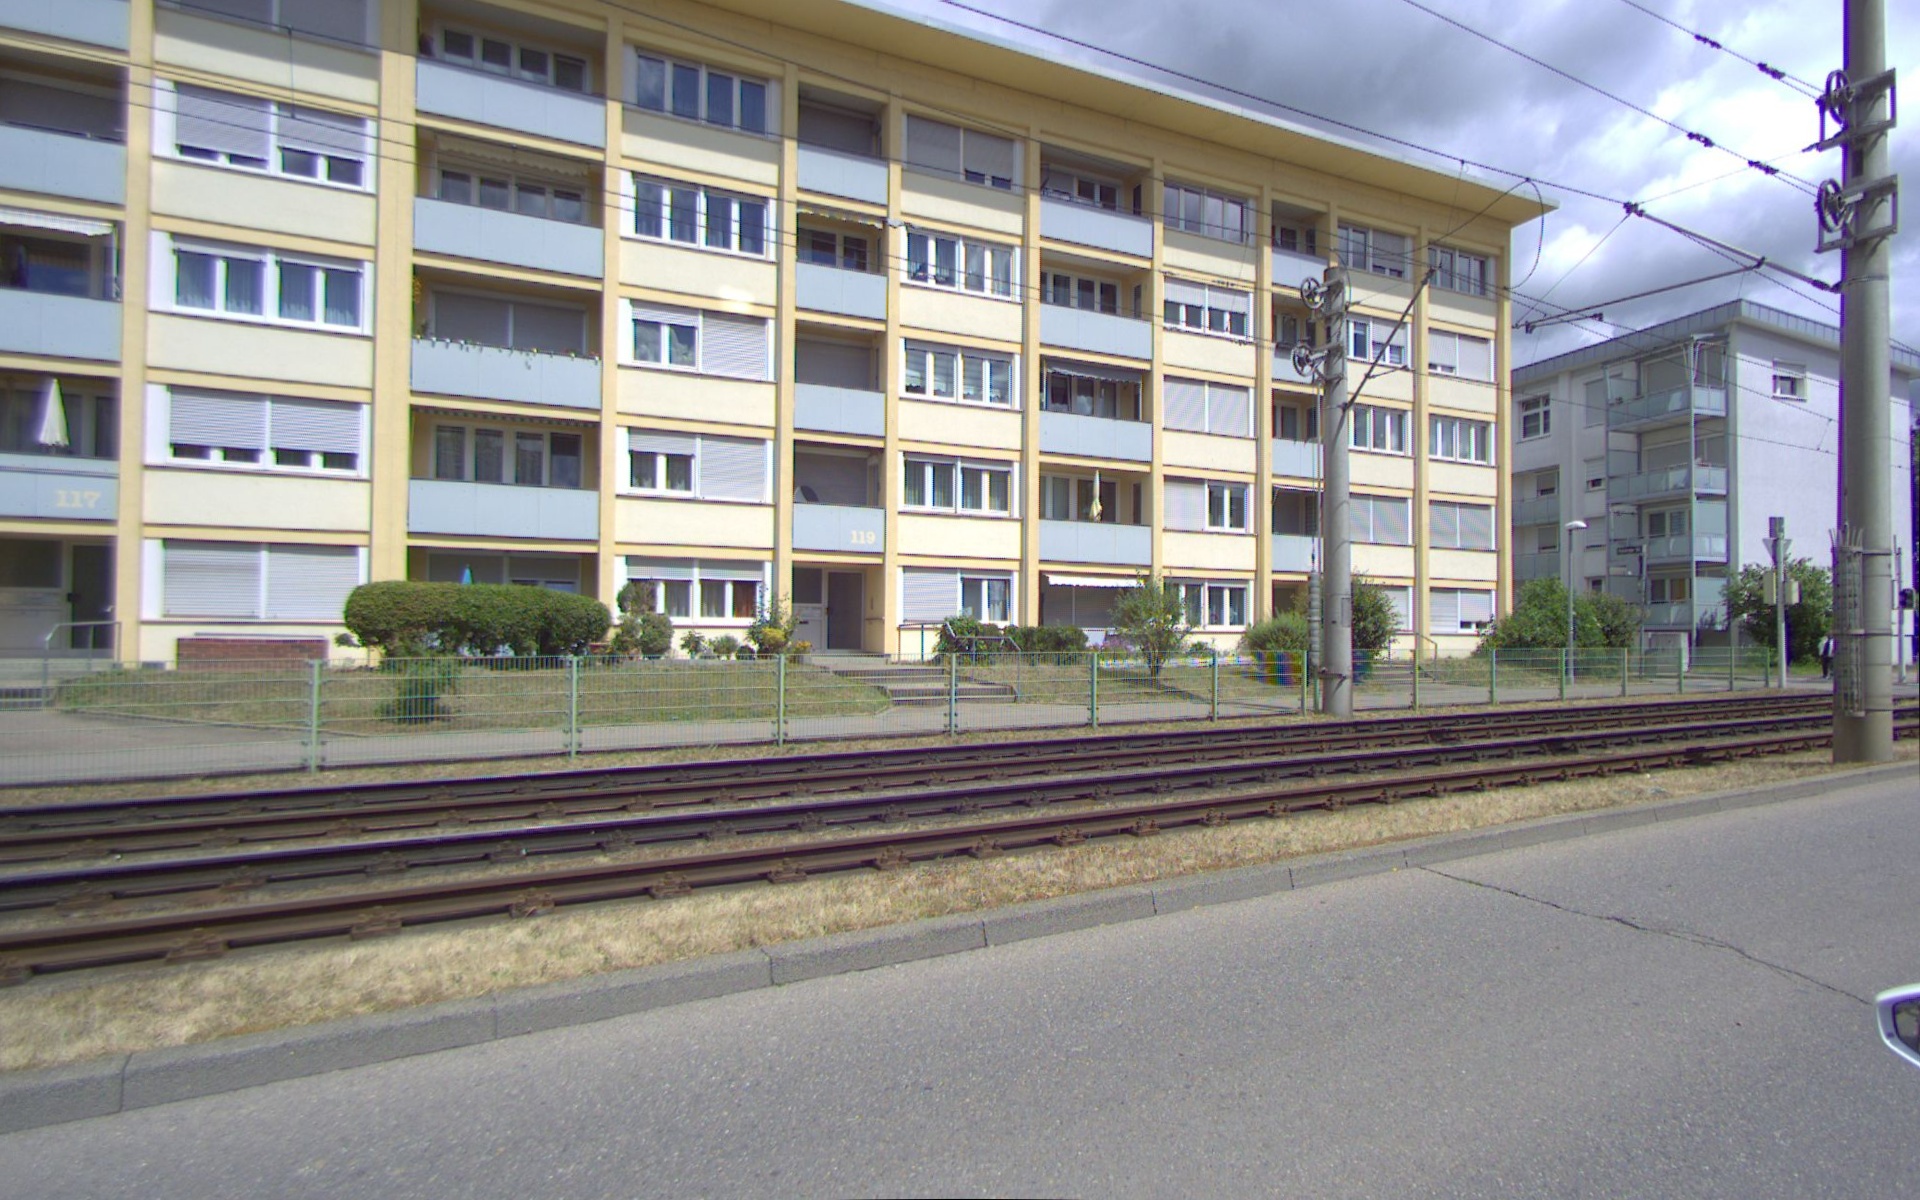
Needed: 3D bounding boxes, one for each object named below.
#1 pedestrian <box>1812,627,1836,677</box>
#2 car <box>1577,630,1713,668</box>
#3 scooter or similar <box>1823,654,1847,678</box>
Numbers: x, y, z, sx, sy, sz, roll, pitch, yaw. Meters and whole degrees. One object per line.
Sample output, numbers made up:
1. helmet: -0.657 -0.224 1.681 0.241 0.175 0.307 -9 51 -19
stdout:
1. pedestrian: 28.101 1.679 32.668 0.468 1.601 0.436 1 -1 -25
2. car: 26.345 1.848 38.783 1.873 1.363 3.980 1 -2 -21
3. scooter or similar: 27.999 2.101 32.137 0.468 0.757 0.436 1 -1 -25
